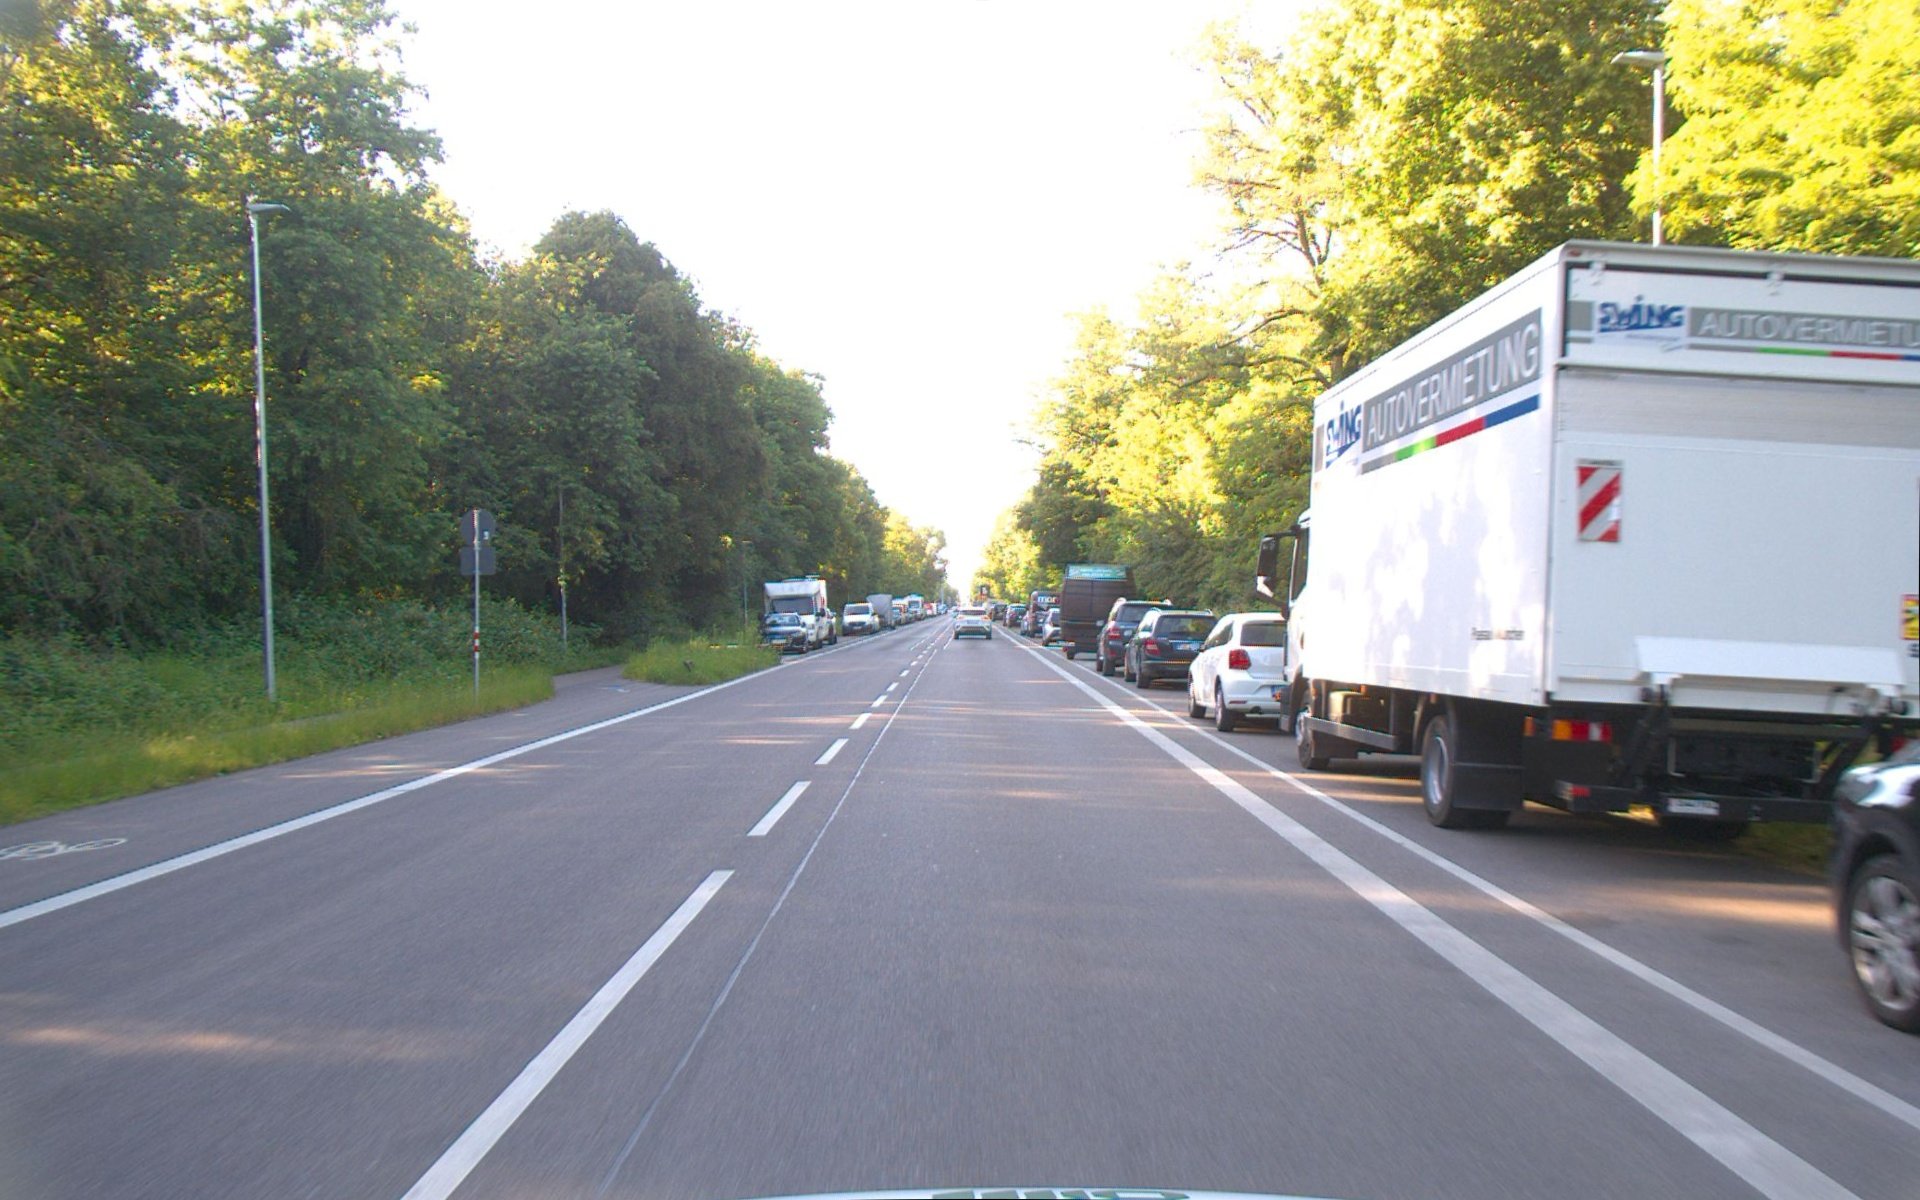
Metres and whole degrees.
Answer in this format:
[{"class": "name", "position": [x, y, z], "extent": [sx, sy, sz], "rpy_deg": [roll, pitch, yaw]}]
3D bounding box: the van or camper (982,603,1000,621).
[{"class": "van or camper", "position": [3.534, 1.317, 187.044], "extent": [1.952, 1.966, 5.199], "rpy_deg": [0, 0, 0]}]

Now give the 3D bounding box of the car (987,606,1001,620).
[{"class": "car", "position": [4.317, 1.680, 209.796], "extent": [1.803, 1.691, 4.000], "rpy_deg": [-1, 0, 1]}]

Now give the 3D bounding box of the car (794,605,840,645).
[{"class": "car", "position": [-6.405, 1.111, 74.350], "extent": [1.612, 1.660, 4.273], "rpy_deg": [-3, 0, 0]}]

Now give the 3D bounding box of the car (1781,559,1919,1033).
[{"class": "car", "position": [4.225, 0.684, 4.901], "extent": [1.761, 1.686, 4.031], "rpy_deg": [-1, 0, 4]}]

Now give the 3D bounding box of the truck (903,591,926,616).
[{"class": "truck", "position": [-6.209, 0.529, 227.403], "extent": [2.652, 3.406, 10.923], "rpy_deg": [-1, 0, 0]}]

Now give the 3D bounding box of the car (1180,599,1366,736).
[{"class": "car", "position": [4.016, 0.812, 21.826], "extent": [1.677, 1.596, 4.000], "rpy_deg": [1, 0, 0]}]

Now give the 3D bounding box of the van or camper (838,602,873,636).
[{"class": "van or camper", "position": [-6.311, 1.111, 100.341], "extent": [1.798, 1.945, 4.855], "rpy_deg": [-2, 0, 0]}]

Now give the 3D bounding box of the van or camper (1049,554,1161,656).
[{"class": "van or camper", "position": [4.524, 0.128, 50.483], "extent": [2.389, 2.849, 6.562], "rpy_deg": [-1, 0, 13]}]

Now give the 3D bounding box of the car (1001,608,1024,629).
[{"class": "car", "position": [4.052, 1.385, 127.156], "extent": [1.655, 1.551, 4.149], "rpy_deg": [1, 0, 0]}]

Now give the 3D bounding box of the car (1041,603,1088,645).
[{"class": "car", "position": [4.122, 0.923, 65.644], "extent": [1.676, 1.572, 4.023], "rpy_deg": [1, 0, 1]}]

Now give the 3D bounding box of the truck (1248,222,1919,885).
[{"class": "truck", "position": [4.519, -0.259, 13.247], "extent": [2.775, 3.559, 8.576], "rpy_deg": [-1, 0, -1]}]

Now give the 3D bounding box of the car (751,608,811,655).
[{"class": "car", "position": [-6.324, 1.087, 58.889], "extent": [1.791, 1.501, 4.678], "rpy_deg": [-2, 0, -3]}]

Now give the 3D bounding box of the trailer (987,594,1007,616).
[{"class": "trailer", "position": [5.137, 0.686, 231.837], "extent": [2.701, 2.920, 6.588], "rpy_deg": [-1, 0, 0]}]

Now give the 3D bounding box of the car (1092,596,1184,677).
[{"class": "car", "position": [4.013, 0.777, 37.780], "extent": [1.676, 1.694, 4.552], "rpy_deg": [1, 0, 1]}]

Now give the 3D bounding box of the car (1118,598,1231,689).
[{"class": "car", "position": [4.109, 0.791, 32.294], "extent": [1.676, 1.596, 4.552], "rpy_deg": [1, 0, 1]}]

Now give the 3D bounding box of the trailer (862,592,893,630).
[{"class": "trailer", "position": [-6.131, 0.826, 123.075], "extent": [1.953, 2.643, 4.415], "rpy_deg": [-3, 0, 0]}]

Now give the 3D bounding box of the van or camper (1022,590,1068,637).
[{"class": "van or camper", "position": [4.423, 0.688, 86.871], "extent": [1.993, 2.352, 6.040], "rpy_deg": [-1, 0, -1]}]

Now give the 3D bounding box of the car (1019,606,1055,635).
[{"class": "car", "position": [4.341, 1.162, 93.669], "extent": [1.712, 1.542, 3.998], "rpy_deg": [-2, 0, -2]}]

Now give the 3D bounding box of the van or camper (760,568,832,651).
[{"class": "van or camper", "position": [-6.466, 0.378, 66.026], "extent": [2.268, 3.021, 7.108], "rpy_deg": [-3, 0, -2]}]

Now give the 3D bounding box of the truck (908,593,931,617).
[{"class": "truck", "position": [-5.272, 0.680, 216.117], "extent": [2.652, 3.148, 7.989], "rpy_deg": [-1, 0, 0]}]

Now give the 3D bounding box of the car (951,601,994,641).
[{"class": "car", "position": [0.627, 0.988, 79.384], "extent": [1.987, 1.872, 4.029], "rpy_deg": [-1, 0, 1]}]

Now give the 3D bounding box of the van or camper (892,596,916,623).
[{"class": "van or camper", "position": [-5.717, 0.985, 168.743], "extent": [2.077, 2.617, 6.542], "rpy_deg": [-1, 0, 1]}]

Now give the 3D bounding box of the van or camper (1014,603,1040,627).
[{"class": "van or camper", "position": [5.384, 1.189, 133.361], "extent": [1.911, 1.847, 4.380], "rpy_deg": [0, 0, 0]}]

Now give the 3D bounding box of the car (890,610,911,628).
[{"class": "car", "position": [-5.400, 1.737, 150.008], "extent": [1.696, 1.504, 4.324], "rpy_deg": [-3, 0, 0]}]
